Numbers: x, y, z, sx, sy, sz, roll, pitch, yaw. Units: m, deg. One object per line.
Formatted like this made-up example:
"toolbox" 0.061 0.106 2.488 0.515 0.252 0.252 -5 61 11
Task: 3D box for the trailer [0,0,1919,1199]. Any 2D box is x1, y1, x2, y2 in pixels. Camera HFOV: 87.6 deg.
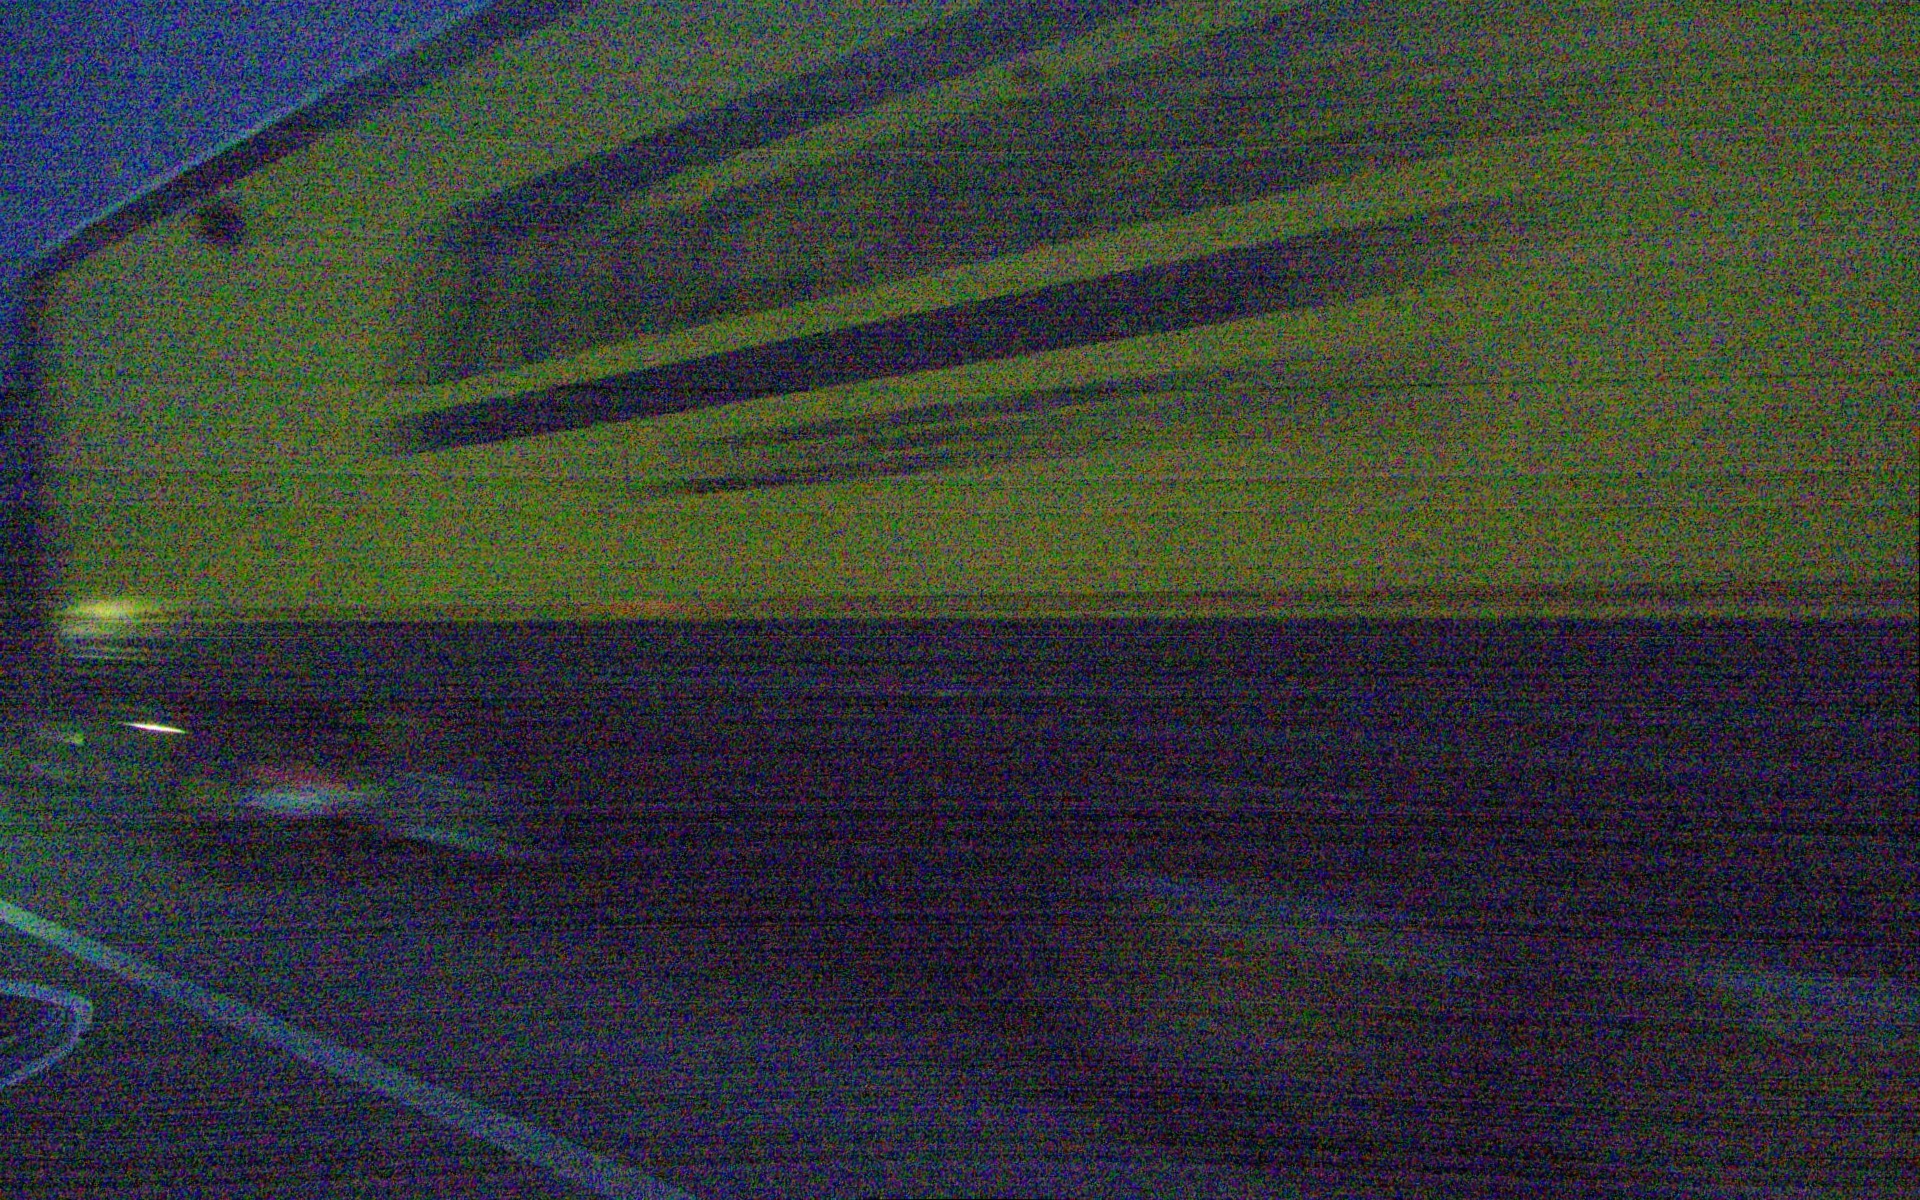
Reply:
"trailer" -2.751 -0.537 6.075 12.751 4.158 2.617 -1 0 32

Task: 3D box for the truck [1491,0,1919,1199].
"truck" 4.361 -0.564 1.586 6.041 4.124 2.575 0 -1 32
